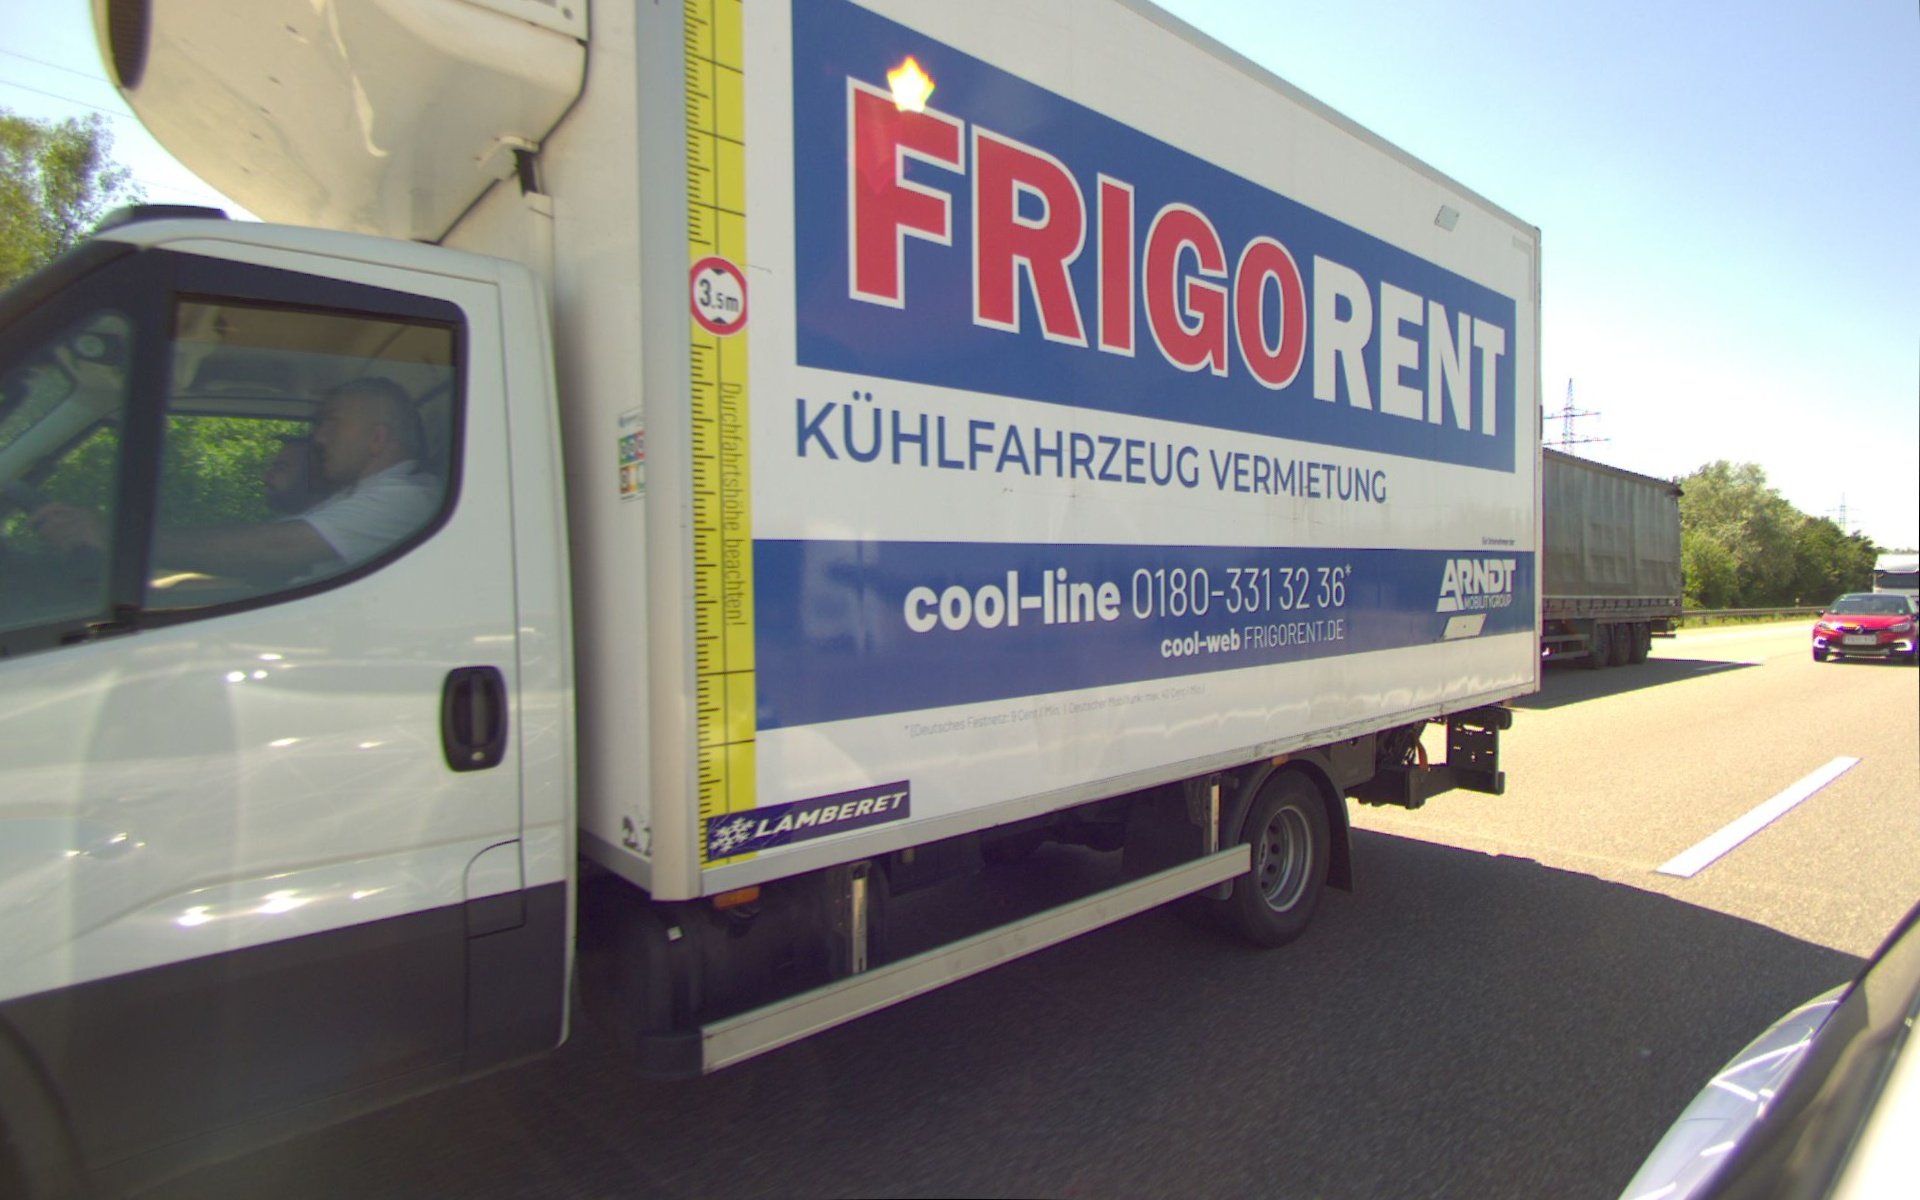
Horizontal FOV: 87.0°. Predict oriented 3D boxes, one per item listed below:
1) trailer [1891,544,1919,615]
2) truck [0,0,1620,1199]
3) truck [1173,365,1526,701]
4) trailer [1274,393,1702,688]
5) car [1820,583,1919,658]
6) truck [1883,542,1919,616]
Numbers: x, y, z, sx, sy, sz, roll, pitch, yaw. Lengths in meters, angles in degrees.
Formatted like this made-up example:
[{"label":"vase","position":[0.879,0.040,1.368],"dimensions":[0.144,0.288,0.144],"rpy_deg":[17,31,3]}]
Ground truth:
[{"label":"trailer","position":[61.088,-1.242,63.417],"dimensions":[12.894,4.158,2.740],"rpy_deg":[0,1,-41]},{"label":"truck","position":[0.149,-0.335,4.559],"dimensions":[7.988,3.415,2.786],"rpy_deg":[-1,1,-42]},{"label":"truck","position":[6.148,-0.867,15.622],"dimensions":[5.622,4.216,2.800],"rpy_deg":[0,0,-41]},{"label":"trailer","position":[11.080,-0.899,19.890],"dimensions":[13.336,4.216,2.794],"rpy_deg":[0,0,-41]},{"label":"car","position":[21.285,0.418,23.216],"dimensions":[3.930,1.565,1.806],"rpy_deg":[0,1,-41]},{"label":"truck","position":[56.139,-1.205,59.030],"dimensions":[6.018,4.171,2.740],"rpy_deg":[0,1,-41]}]
